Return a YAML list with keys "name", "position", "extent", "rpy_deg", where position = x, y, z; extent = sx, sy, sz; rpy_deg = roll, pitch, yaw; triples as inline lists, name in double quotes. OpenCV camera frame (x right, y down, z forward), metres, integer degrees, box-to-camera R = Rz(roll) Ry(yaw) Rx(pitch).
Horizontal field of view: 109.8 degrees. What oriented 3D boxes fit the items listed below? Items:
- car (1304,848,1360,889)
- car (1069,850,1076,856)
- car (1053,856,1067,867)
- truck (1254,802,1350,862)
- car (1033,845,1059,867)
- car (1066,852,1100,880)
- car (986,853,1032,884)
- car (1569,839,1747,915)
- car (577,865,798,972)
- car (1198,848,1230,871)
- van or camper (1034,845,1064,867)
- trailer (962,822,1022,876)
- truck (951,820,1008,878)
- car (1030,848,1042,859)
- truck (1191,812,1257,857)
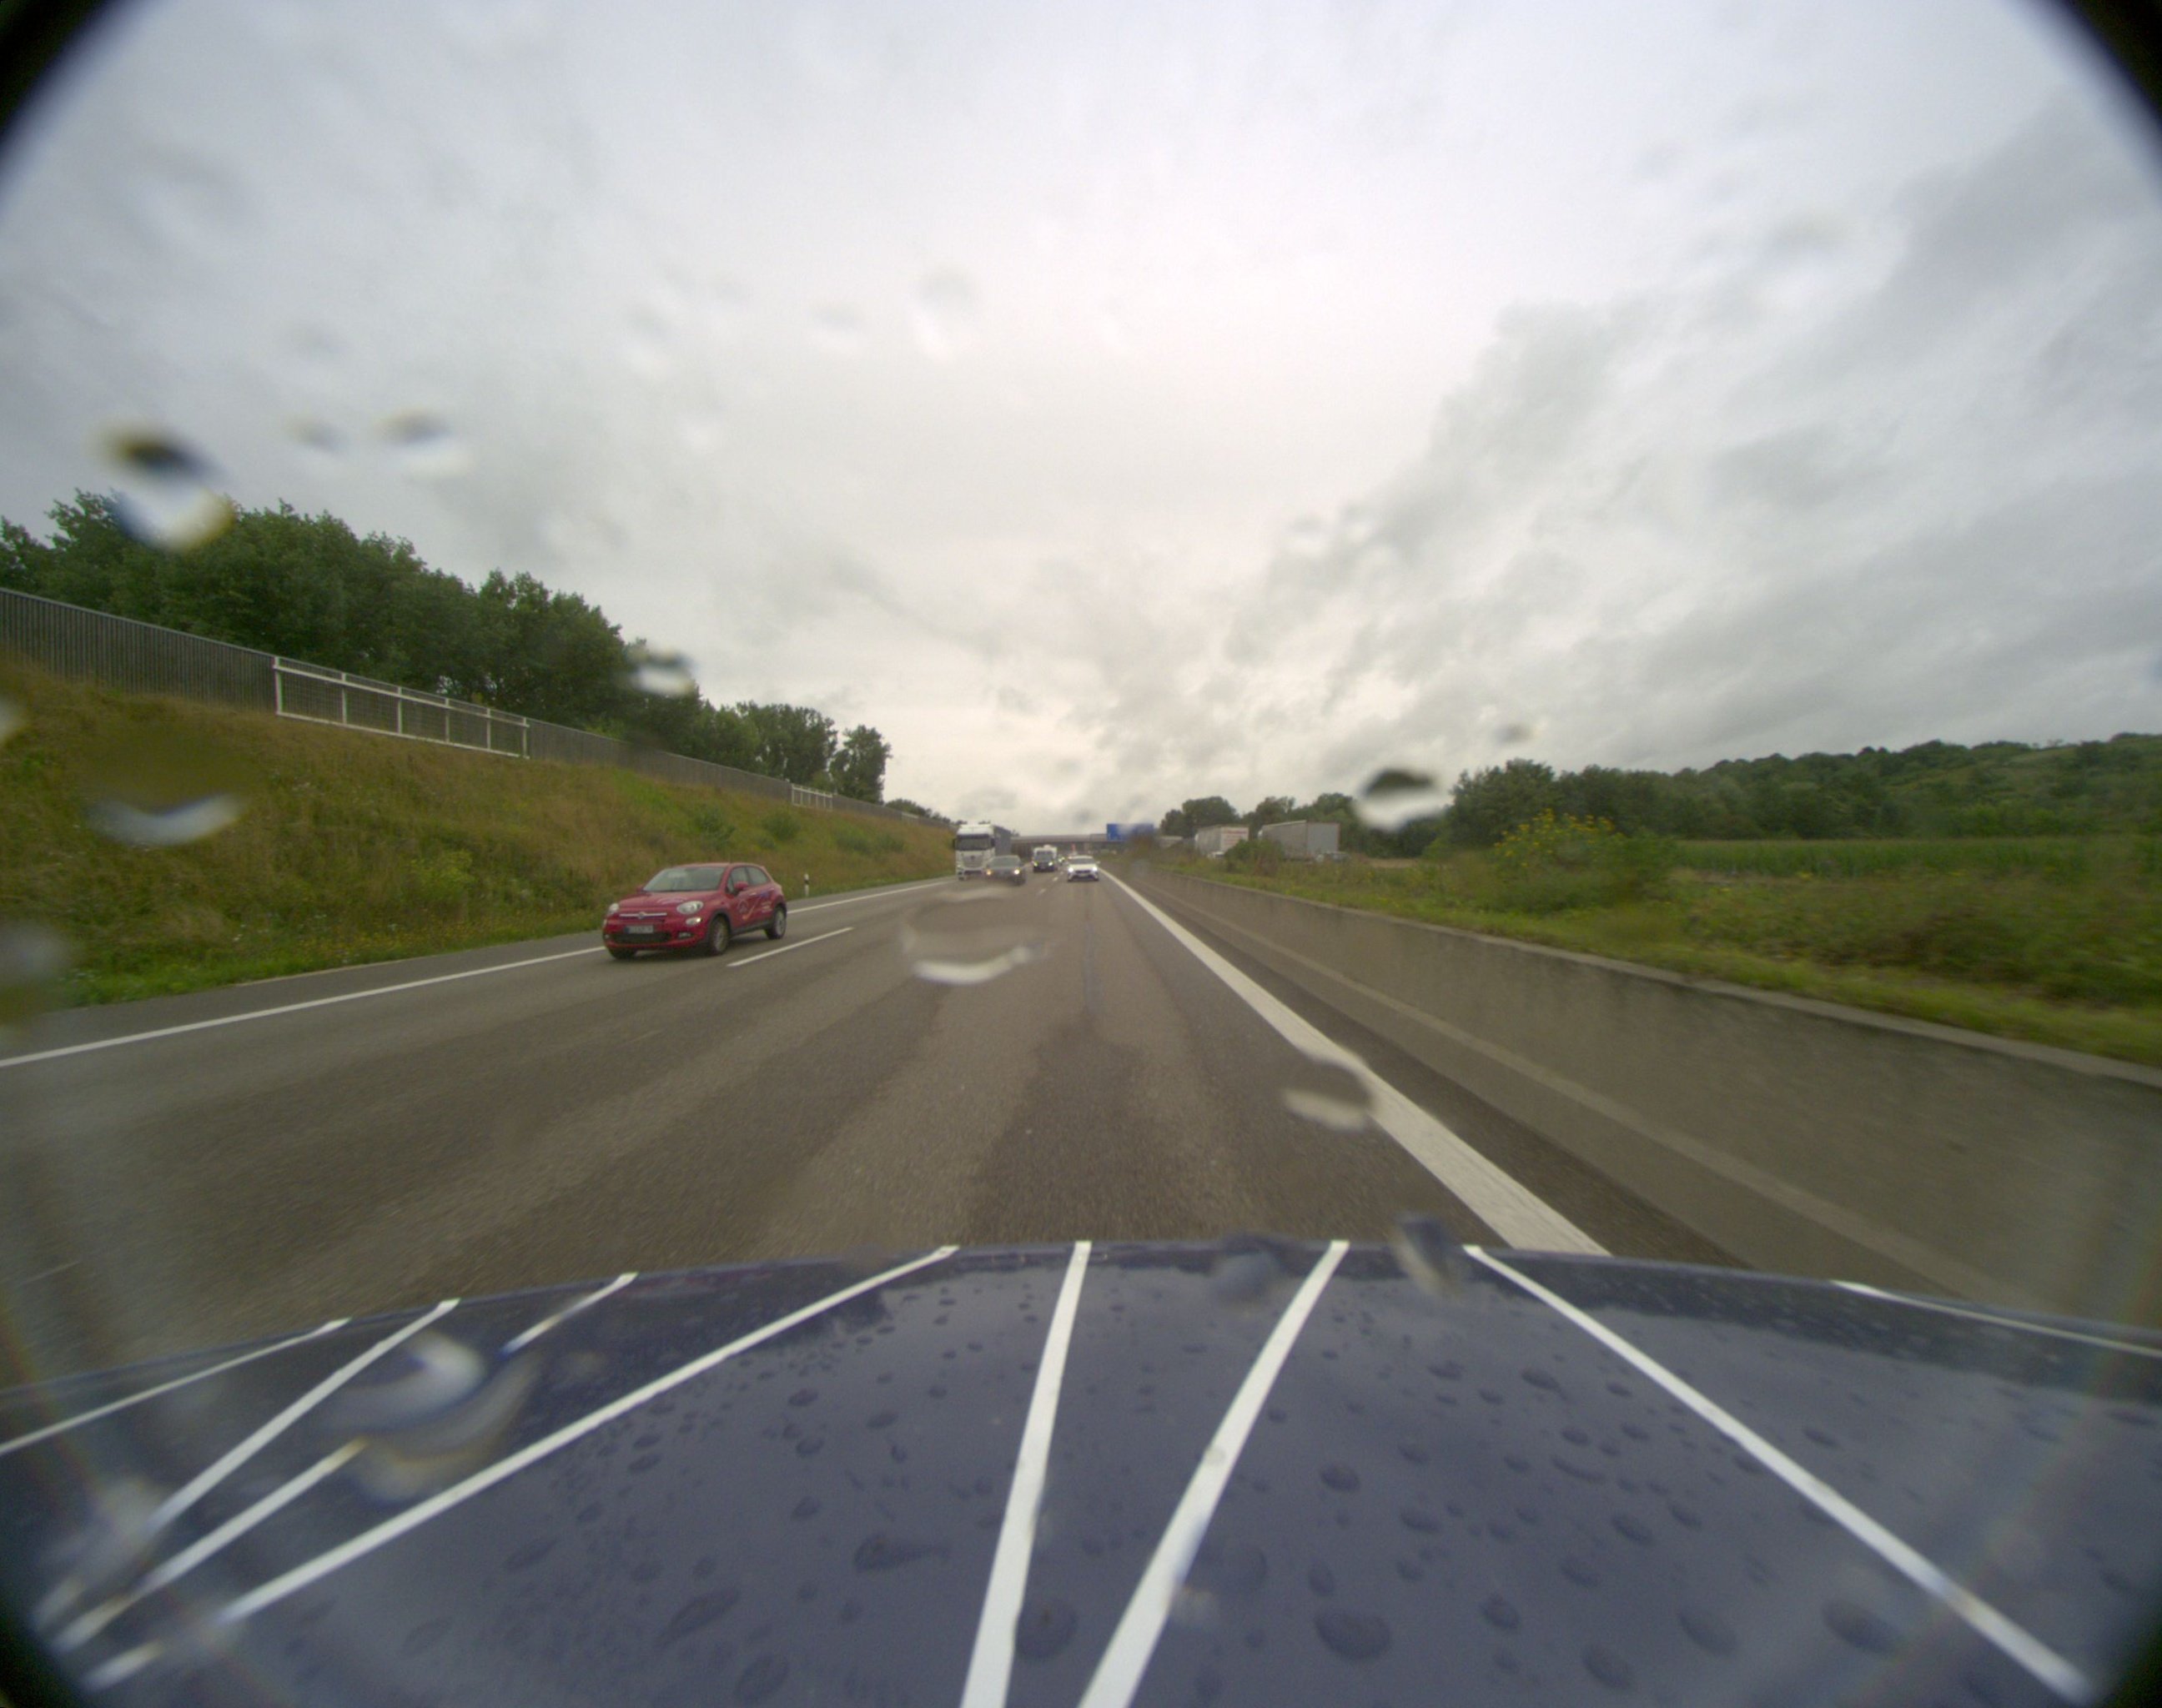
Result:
- name: "car"
  position: [13.801, 0.741, 41.992]
  extent: [1.813, 2.002, 3.999]
  rpy_deg: [-2, 2, 1]
- name: "car"
  position: [-2.416, -0.263, 213.922]
  extent: [1.999, 1.696, 4.484]
  rpy_deg: [-2, 0, -1]
- name: "car"
  position: [-3.283, 1.158, 117.533]
  extent: [1.998, 1.759, 4.000]
  rpy_deg: [0, 0, 1]
- name: "truck"
  position: [18.428, -1.731, 65.120]
  extent: [3.333, 4.317, 16.899]
  rpy_deg: [-2, 1, 1]
- name: "car"
  position: [-3.373, 0.157, 73.750]
  extent: [1.998, 2.002, 4.938]
  rpy_deg: [-2, 1, 3]
- name: "car"
  position: [0.157, 0.687, 45.003]
  extent: [1.840, 1.455, 4.000]
  rpy_deg: [-2, 1, 2]
- name: "car"
  position: [-3.868, 0.741, 41.497]
  extent: [1.929, 1.480, 4.485]
  rpy_deg: [-2, 1, 2]
- name: "car"
  position: [17.314, 0.608, 23.142]
  extent: [1.998, 2.002, 4.480]
  rpy_deg: [-2, 1, 1]
- name: "car"
  position: [-6.960, 1.047, 14.000]
  extent: [1.878, 1.526, 3.999]
  rpy_deg: [-2, 1, 1]
- name: "car"
  position: [9.771, 0.376, 56.078]
  extent: [1.678, 1.630, 3.999]
  rpy_deg: [-2, 1, 1]
- name: "van or camper"
  position: [-3.266, 0.156, 78.587]
  extent: [2.432, 2.139, 6.498]
  rpy_deg: [-2, 1, 2]
- name: "trailer"
  position: [-7.362, -0.490, 65.624]
  extent: [3.089, 4.003, 15.220]
  rpy_deg: [-2, 1, 1]
- name: "truck"
  position: [-7.468, -0.384, 56.662]
  extent: [3.089, 4.003, 6.956]
  rpy_deg: [-2, 1, 1]
- name: "car"
  position: [-8.910, -0.066, 149.186]
  extent: [1.998, 2.002, 4.262]
  rpy_deg: [-1, 0, 1]
- name: "truck"
  position: [14.119, -1.858, 76.847]
  extent: [3.609, 3.858, 16.109]
  rpy_deg: [-2, 1, 1]
